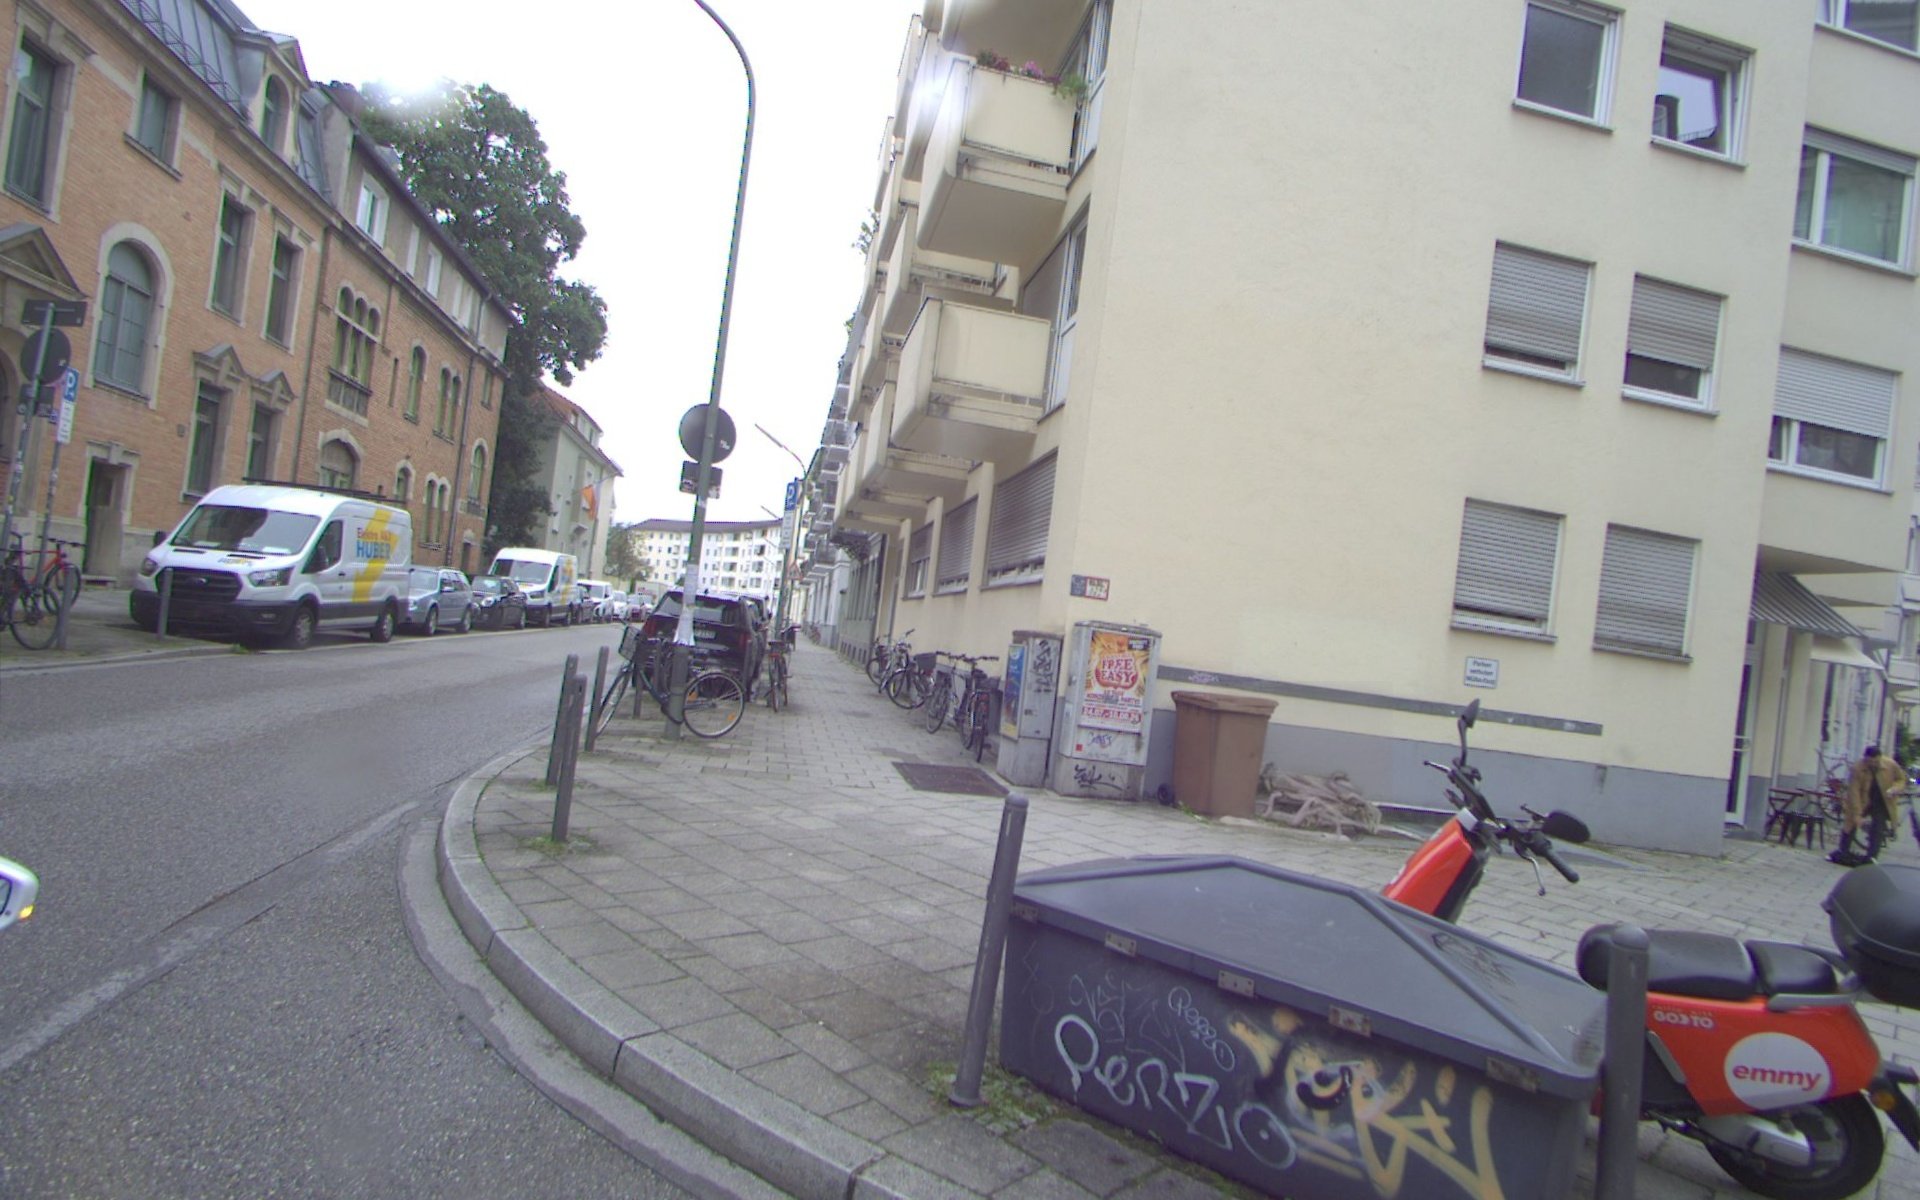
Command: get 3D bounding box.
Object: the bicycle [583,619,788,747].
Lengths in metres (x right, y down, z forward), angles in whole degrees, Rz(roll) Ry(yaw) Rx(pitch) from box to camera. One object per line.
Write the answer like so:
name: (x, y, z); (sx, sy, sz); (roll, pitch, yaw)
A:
bicycle: (-2.749, 0.845, 10.142); (1.746, 1.078, 0.769); (8, -2, -33)

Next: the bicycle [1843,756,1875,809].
bicycle: (21.784, 4.392, 24.385); (0.476, 1.164, 1.780); (6, -2, 42)

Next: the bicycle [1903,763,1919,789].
bicycle: (45.196, 8.368, 47.797); (0.488, 1.130, 1.957); (6, -2, 44)

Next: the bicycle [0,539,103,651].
bicycle: (-9.504, -0.065, 9.967); (0.571, 1.066, 1.762); (7, -2, -7)

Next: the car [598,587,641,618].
car: (-18.049, 0.148, 53.509); (1.730, 1.384, 3.991); (7, -2, -15)

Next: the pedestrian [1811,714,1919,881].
pedestrian: (11.542, 2.436, 12.658); (0.728, 1.869, 1.017); (10, 0, 21)

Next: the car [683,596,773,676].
car: (-5.453, 0.814, 23.877); (1.706, 1.475, 4.409); (9, -2, -12)

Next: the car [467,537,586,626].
car: (-13.710, -0.488, 32.210); (2.108, 2.376, 5.363); (7, -2, -10)

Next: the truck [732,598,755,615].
truck: (-34.515, 1.061, 160.087); (2.205, 2.328, 5.260); (7, -1, -25)

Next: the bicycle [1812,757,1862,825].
bicycle: (17.711, 3.833, 20.335); (0.556, 1.207, 1.671); (9, 0, 39)

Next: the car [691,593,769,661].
car: (-6.548, 0.762, 28.903); (1.835, 1.569, 4.746); (7, -2, -12)

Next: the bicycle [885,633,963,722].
bicycle: (-0.595, 1.187, 15.852); (0.679, 1.220, 1.757); (7, -2, -16)

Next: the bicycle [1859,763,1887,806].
bicycle: (27.816, 5.612, 30.667); (0.476, 1.164, 1.780); (10, 0, 42)

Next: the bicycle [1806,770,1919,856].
bicycle: (14.402, 3.349, 15.726); (1.770, 1.044, 0.752); (8, 0, -10)

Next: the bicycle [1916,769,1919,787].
bicycle: (54.437, 10.105, 56.805); (0.533, 0.969, 1.809); (6, -2, 42)

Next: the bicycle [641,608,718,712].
bicycle: (-3.656, 0.730, 13.009); (0.574, 1.167, 1.953); (7, -2, -23)

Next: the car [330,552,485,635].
car: (-11.829, -0.100, 21.838); (1.666, 1.472, 3.991); (5, -1, -11)

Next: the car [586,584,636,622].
car: (-16.933, 0.144, 49.002); (1.823, 1.558, 3.991); (7, -2, -15)

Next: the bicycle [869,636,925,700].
bicycle: (-1.219, 1.268, 19.185); (0.572, 1.066, 1.833); (7, -2, -16)

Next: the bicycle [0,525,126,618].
bicycle: (-11.760, -0.347, 12.918); (0.571, 1.066, 1.894); (8, -2, -7)

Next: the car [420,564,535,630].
car: (-12.779, -0.032, 26.894); (1.675, 1.448, 3.826); (6, -2, -10)

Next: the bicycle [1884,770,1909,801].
bicycle: (38.698, 7.644, 41.566); (0.635, 1.130, 1.957); (5, -2, 45)

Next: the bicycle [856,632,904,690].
bicycle: (-1.697, 1.262, 21.102); (0.572, 1.066, 1.758); (7, -2, -16)

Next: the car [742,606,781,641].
car: (-9.701, 1.153, 49.450); (1.626, 1.450, 3.996); (7, -2, -10)

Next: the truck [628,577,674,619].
truck: (-20.159, -0.067, 65.851); (1.967, 2.345, 5.403); (7, -2, -10)

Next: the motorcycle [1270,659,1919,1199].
motorcycle: (2.172, 1.042, 3.192); (2.046, 1.372, 0.817); (9, 0, 22)

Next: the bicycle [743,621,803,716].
bicycle: (-2.573, 0.916, 13.997); (0.571, 1.167, 1.962); (7, -2, -7)

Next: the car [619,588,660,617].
car: (-18.868, 0.175, 59.371); (1.772, 1.485, 3.860); (7, -2, -12)

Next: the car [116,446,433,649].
car: (-10.500, -0.636, 16.074); (1.965, 2.497, 5.464); (6, -2, -11)

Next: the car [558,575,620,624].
car: (-15.651, 0.007, 42.608); (1.797, 1.730, 3.992); (7, -2, -13)

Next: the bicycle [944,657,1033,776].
bicycle: (0.272, 1.199, 10.800); (0.571, 1.066, 1.762); (7, -2, -7)

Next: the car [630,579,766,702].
car: (-4.408, 0.668, 17.500); (1.825, 1.657, 4.543); (7, -2, -11)

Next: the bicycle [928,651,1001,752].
bicycle: (0.029, 1.225, 12.565); (0.571, 1.066, 1.762); (7, -2, -7)

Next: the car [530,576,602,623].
car: (-14.860, 0.021, 38.119); (1.721, 1.461, 3.994); (7, -2, -11)

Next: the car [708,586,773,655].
car: (-7.511, 0.700, 34.586); (1.845, 1.990, 4.809); (7, -2, -12)
